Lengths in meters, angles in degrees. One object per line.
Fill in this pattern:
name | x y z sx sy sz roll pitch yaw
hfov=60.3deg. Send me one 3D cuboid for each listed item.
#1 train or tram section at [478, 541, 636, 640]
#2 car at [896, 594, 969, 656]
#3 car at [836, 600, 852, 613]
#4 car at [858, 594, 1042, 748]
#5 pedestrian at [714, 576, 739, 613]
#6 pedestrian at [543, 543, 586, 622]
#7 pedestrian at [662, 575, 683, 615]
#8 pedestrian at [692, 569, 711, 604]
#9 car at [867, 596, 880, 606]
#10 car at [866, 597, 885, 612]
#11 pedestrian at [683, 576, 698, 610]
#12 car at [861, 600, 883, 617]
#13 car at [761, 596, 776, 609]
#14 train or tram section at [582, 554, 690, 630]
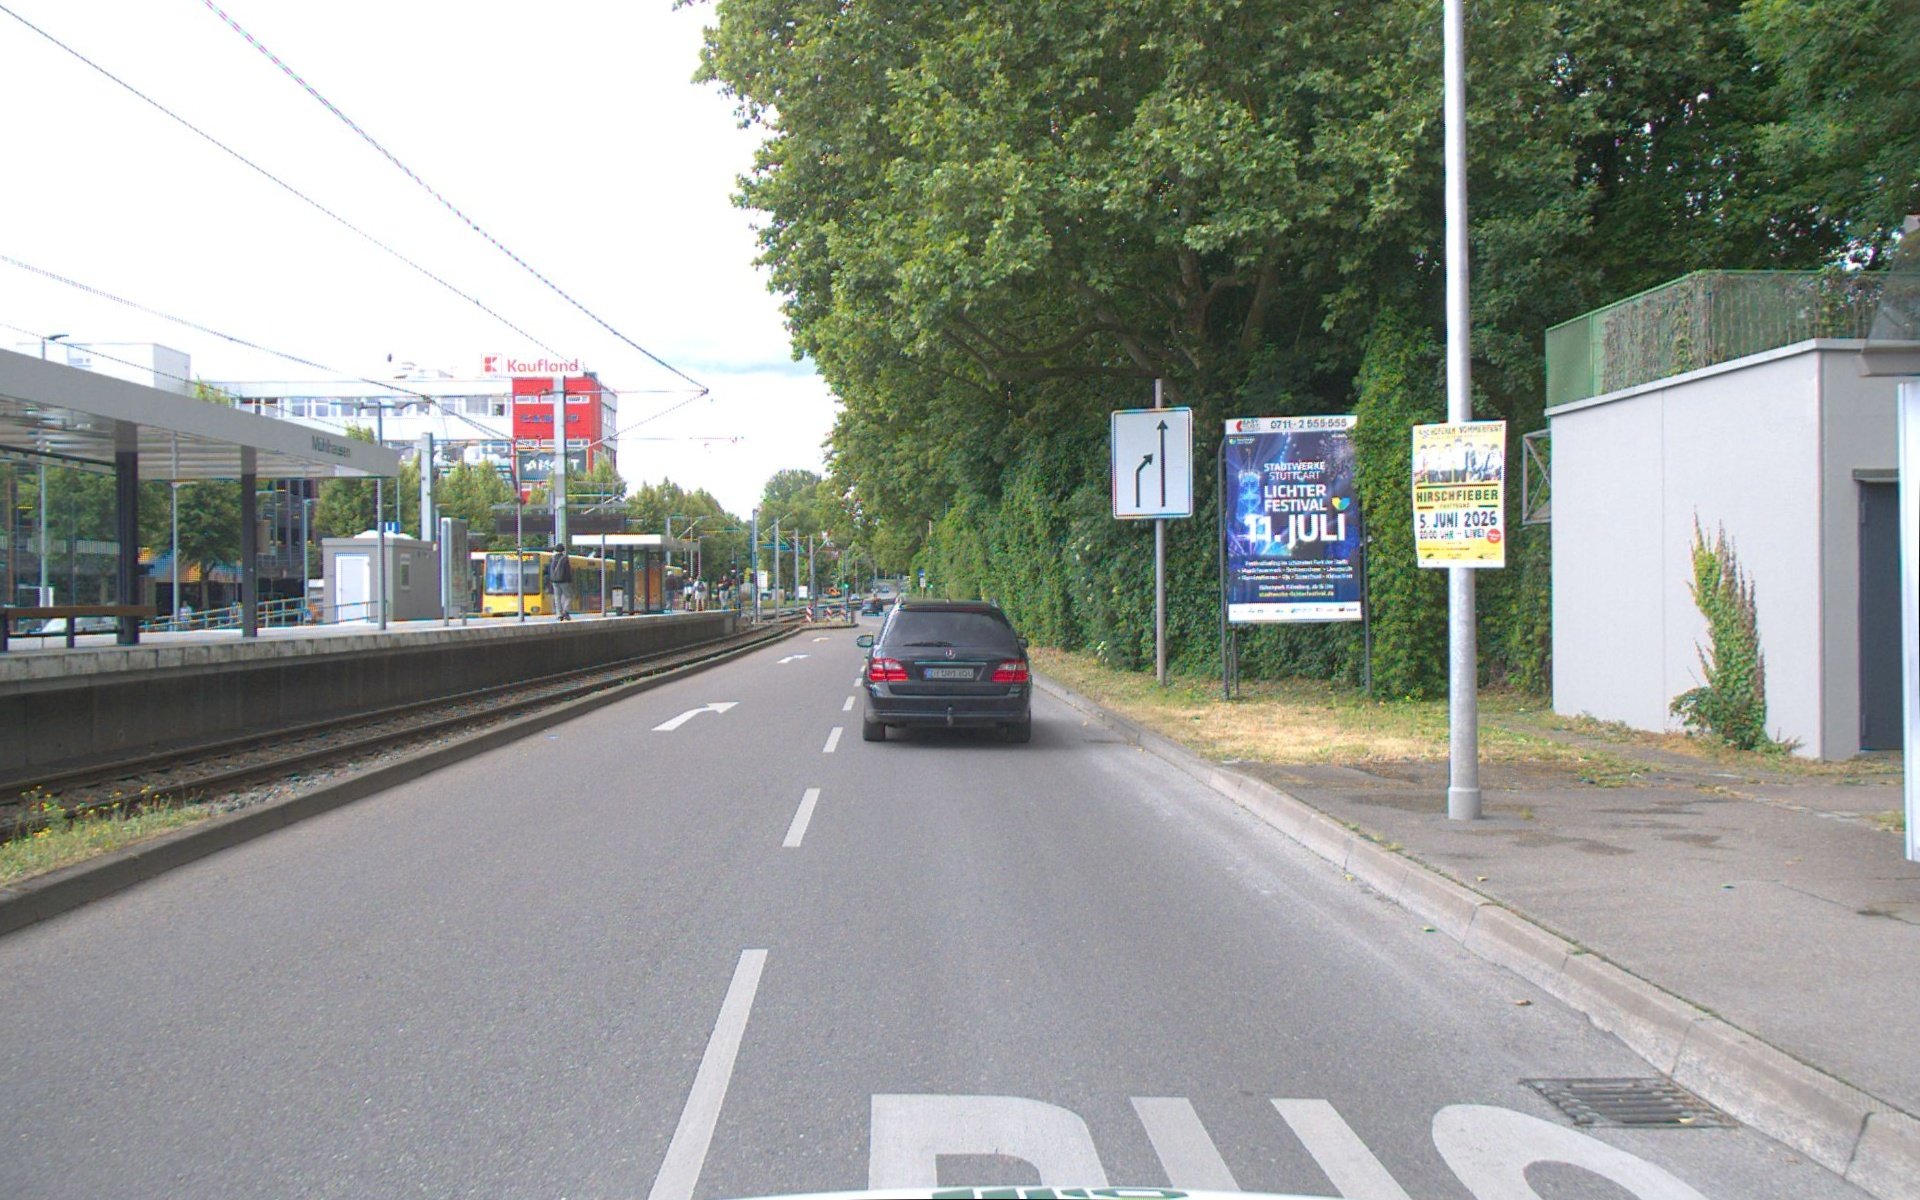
train or tram section | -18.104 -0.409 76.091 2.700 3.950 18.630 -1 0 0
car | -0.776 0.622 43.600 1.789 1.556 4.413 0 0 -3
car | -14.404 0.765 206.028 1.788 1.556 3.927 0 0 -1
car | -0.229 0.683 18.428 1.797 1.504 4.412 0 0 -4
pedestrian | -11.079 -0.248 78.594 0.732 1.707 0.871 -2 -1 41
pedestrian | -9.156 -0.392 38.300 0.734 1.774 0.936 -2 0 -2
pedestrian | -12.395 -0.210 71.383 0.756 1.707 0.790 -2 0 -3
pedestrian | -11.275 -0.575 72.214 0.510 1.508 0.579 -2 -1 35
car | -13.045 0.175 249.965 1.788 1.556 3.985 0 0 -1
car | -8.963 0.424 175.538 1.788 1.556 3.927 0 0 -1
pedestrian | -11.896 -0.306 73.119 0.465 1.509 0.543 -2 0 9
car | -8.043 0.793 151.643 1.788 1.557 4.415 -1 0 -1
car | -30.140 0.383 259.935 1.954 2.049 3.998 -2 0 -3
train or tram section | -18.255 -0.400 94.760 2.700 3.896 18.628 0 0 -1
